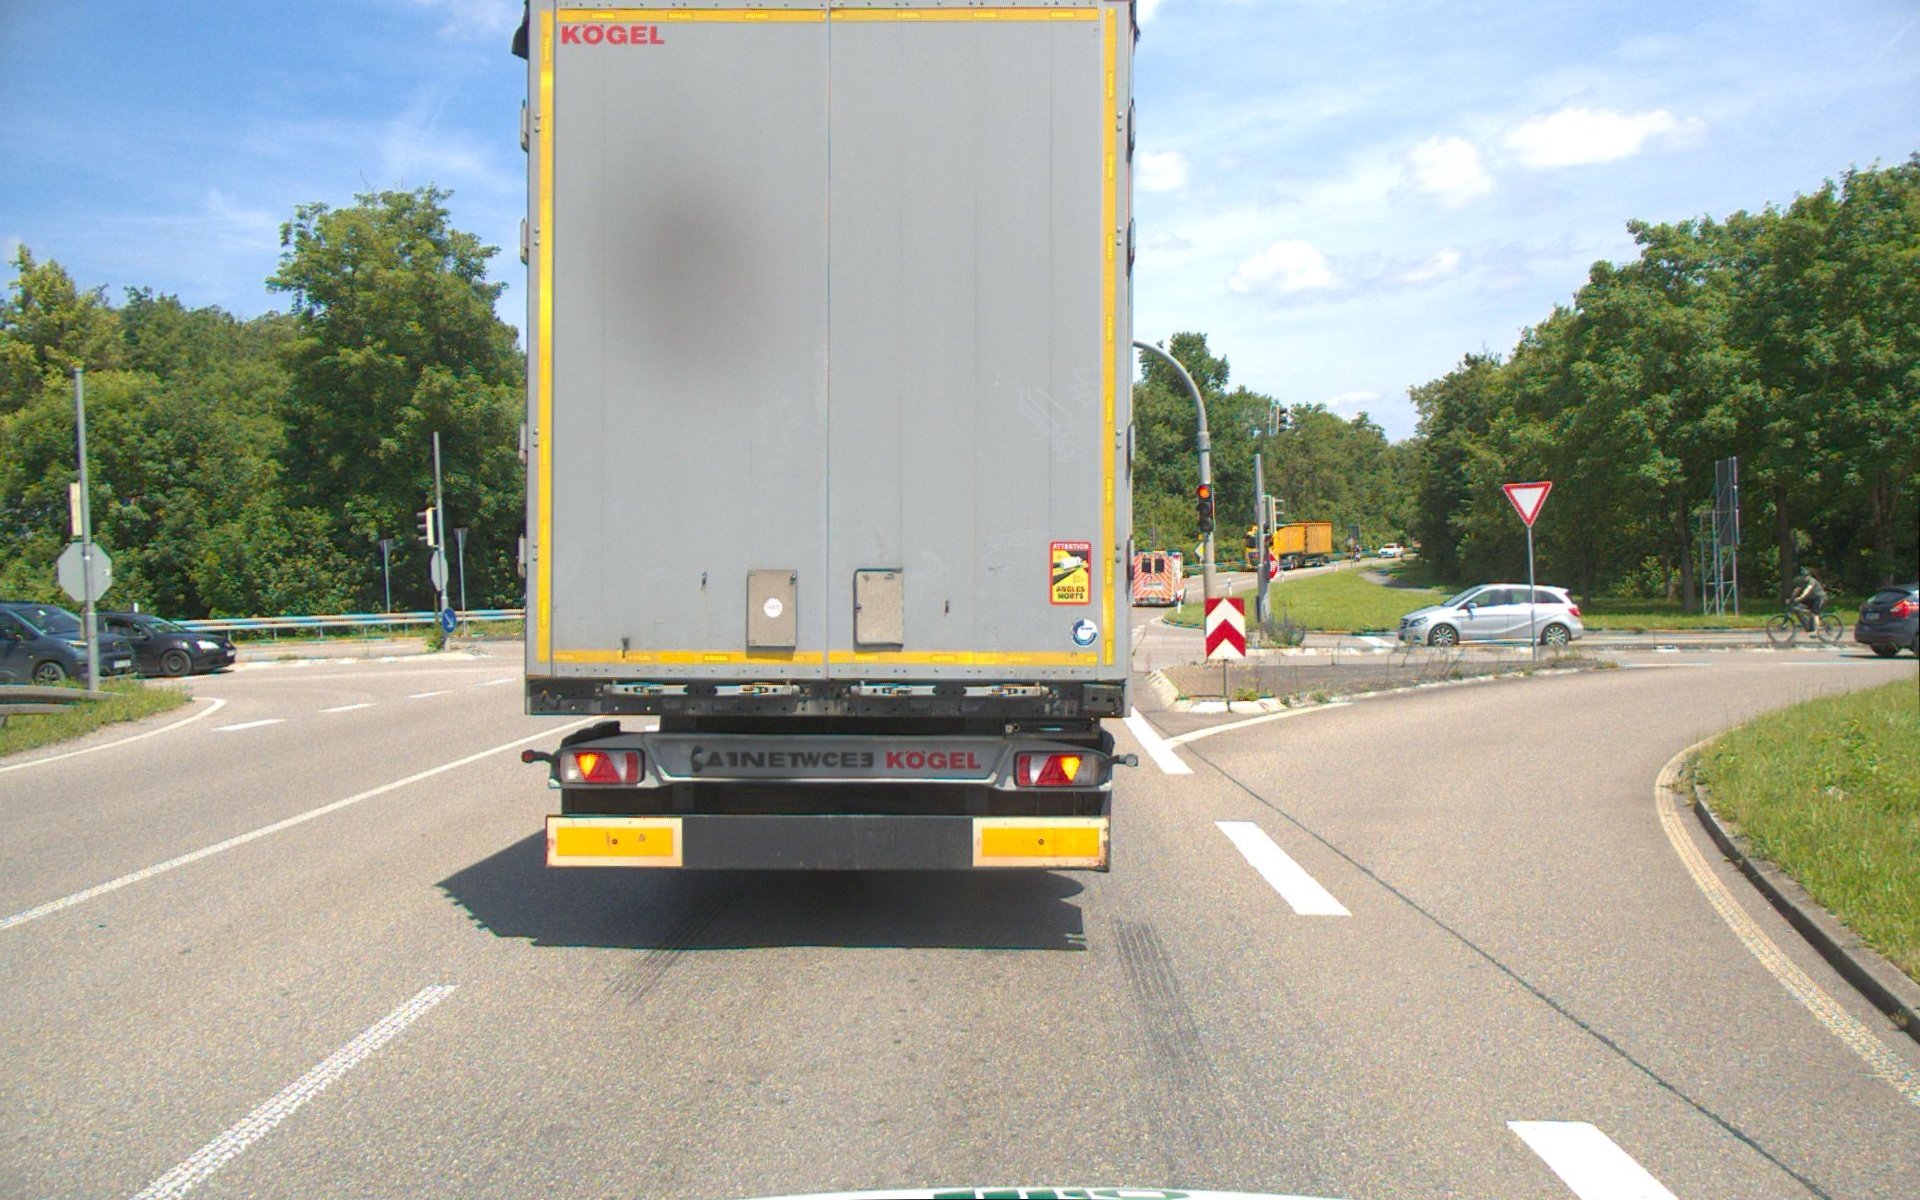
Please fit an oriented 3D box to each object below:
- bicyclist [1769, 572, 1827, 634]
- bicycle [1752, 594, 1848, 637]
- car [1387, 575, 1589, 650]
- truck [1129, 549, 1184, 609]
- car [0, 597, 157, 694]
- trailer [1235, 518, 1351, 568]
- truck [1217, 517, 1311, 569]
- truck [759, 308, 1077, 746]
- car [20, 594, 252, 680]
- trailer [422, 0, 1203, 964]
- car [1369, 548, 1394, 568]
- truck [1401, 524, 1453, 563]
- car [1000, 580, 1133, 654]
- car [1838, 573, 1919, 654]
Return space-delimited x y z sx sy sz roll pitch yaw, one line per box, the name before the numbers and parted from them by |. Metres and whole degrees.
bicyclist | 20.335 0.081 40.165 0.985 1.474 0.795 1 -2 -3
bicycle | 20.406 0.384 40.180 1.949 1.013 0.796 1 -2 -4
car | 12.804 0.325 40.329 4.334 1.749 2.001 0 -2 4
truck | 10.032 -1.001 84.163 2.440 2.776 6.035 0 -2 10
car | -18.081 0.878 32.042 4.143 1.801 2.002 -1 -1 9
trailer | 31.960 -5.330 157.327 4.916 4.438 20.806 0 1 29
truck | 27.539 -5.096 149.246 4.916 4.438 11.747 0 1 29
truck | -0.330 -0.700 18.902 2.975 4.104 6.630 0 0 1
car | -17.977 0.805 36.176 4.143 1.801 2.002 -1 -1 9
trailer | -0.450 -0.683 12.644 2.988 4.104 12.560 0 0 1
car | 46.250 -4.576 181.256 1.954 2.049 3.997 0 0 25
truck | 51.593 -6.229 182.416 3.117 4.099 11.732 -1 1 27
car | 2.468 0.441 39.302 1.847 1.641 3.836 1 -2 -19
car | 19.746 0.295 32.271 4.155 1.517 2.001 0 -2 3
